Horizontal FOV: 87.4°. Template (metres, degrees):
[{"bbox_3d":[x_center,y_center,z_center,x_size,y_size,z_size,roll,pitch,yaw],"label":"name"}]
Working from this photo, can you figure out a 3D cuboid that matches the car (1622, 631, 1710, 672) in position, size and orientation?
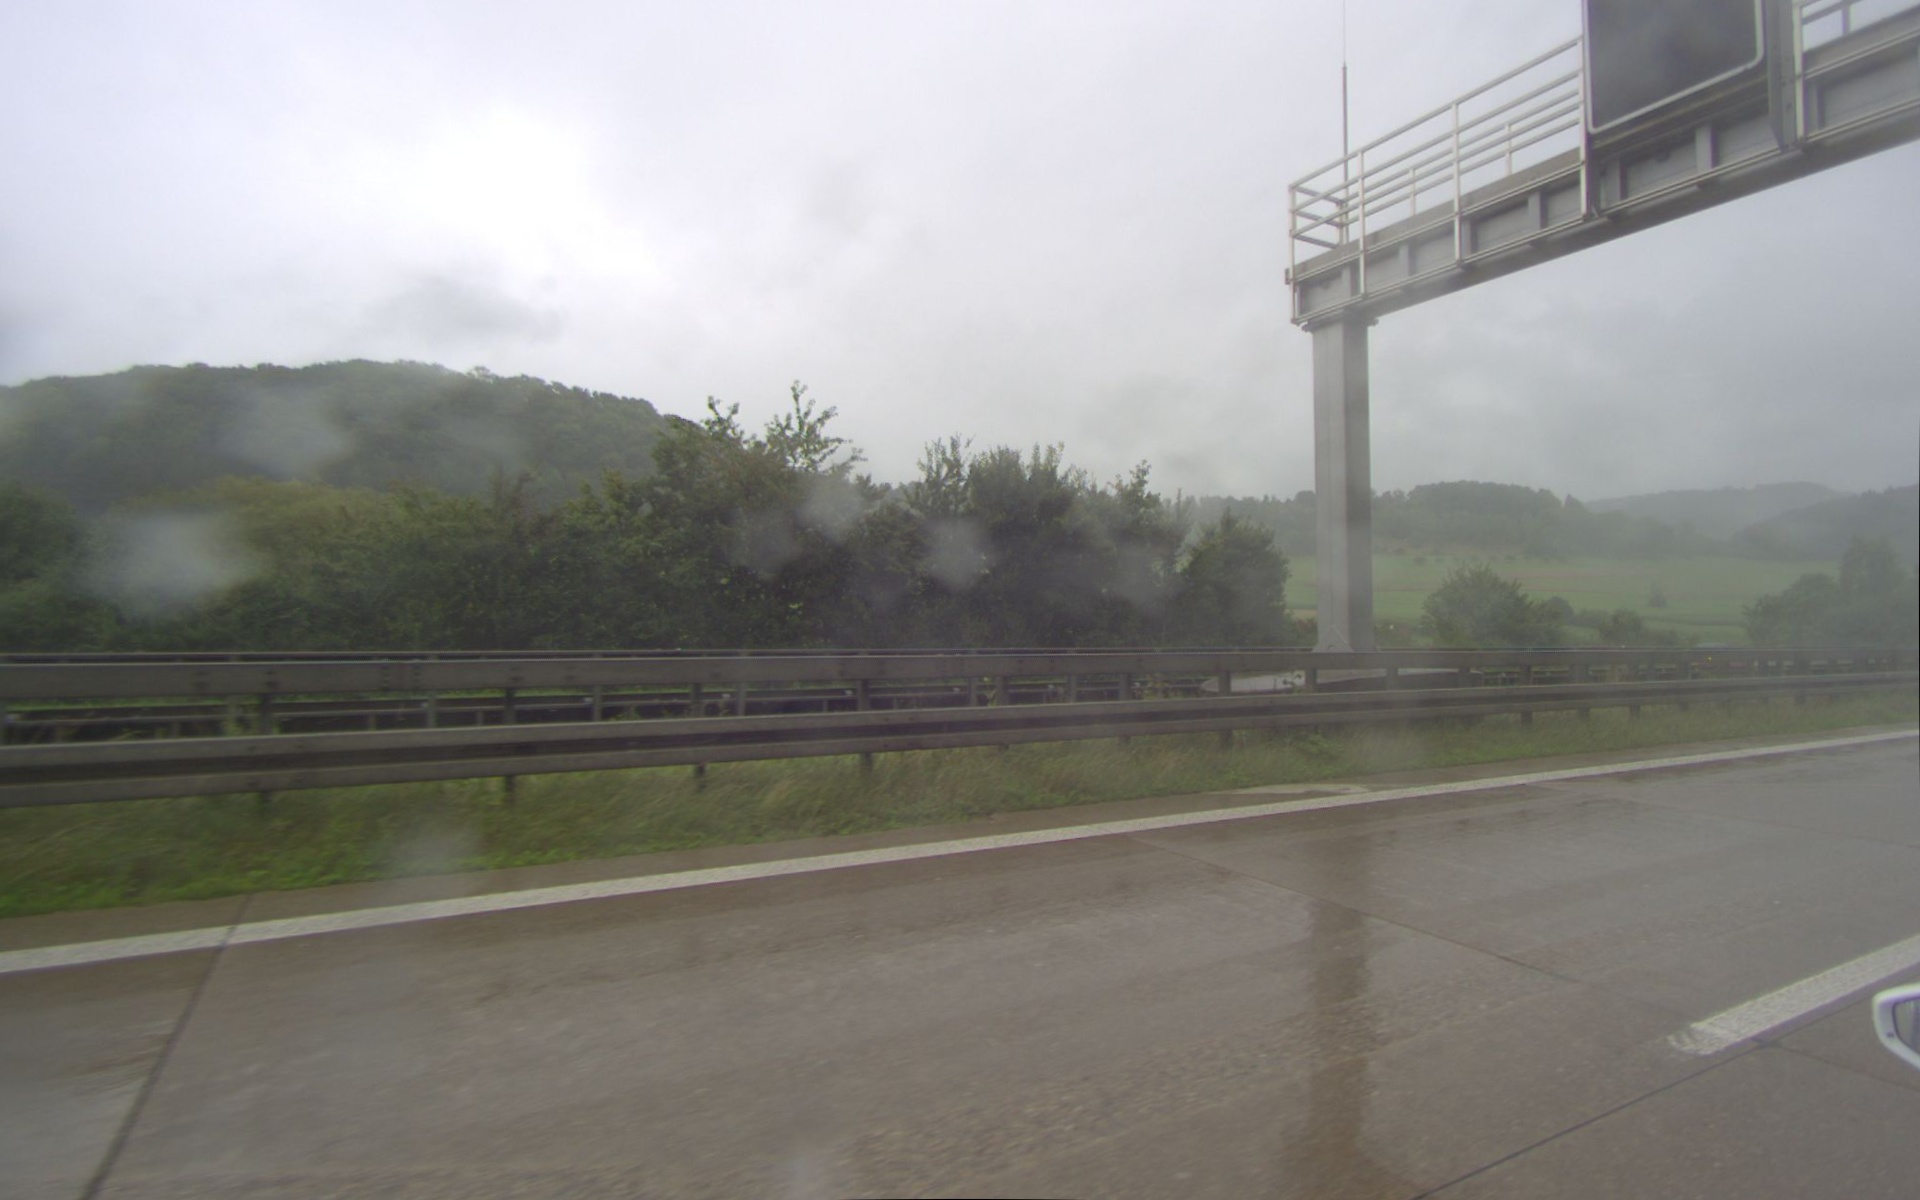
[{"bbox_3d":[33.758,2.454,48.030,3.953,1.806,1.984,2,0,-30],"label":"car"}]
